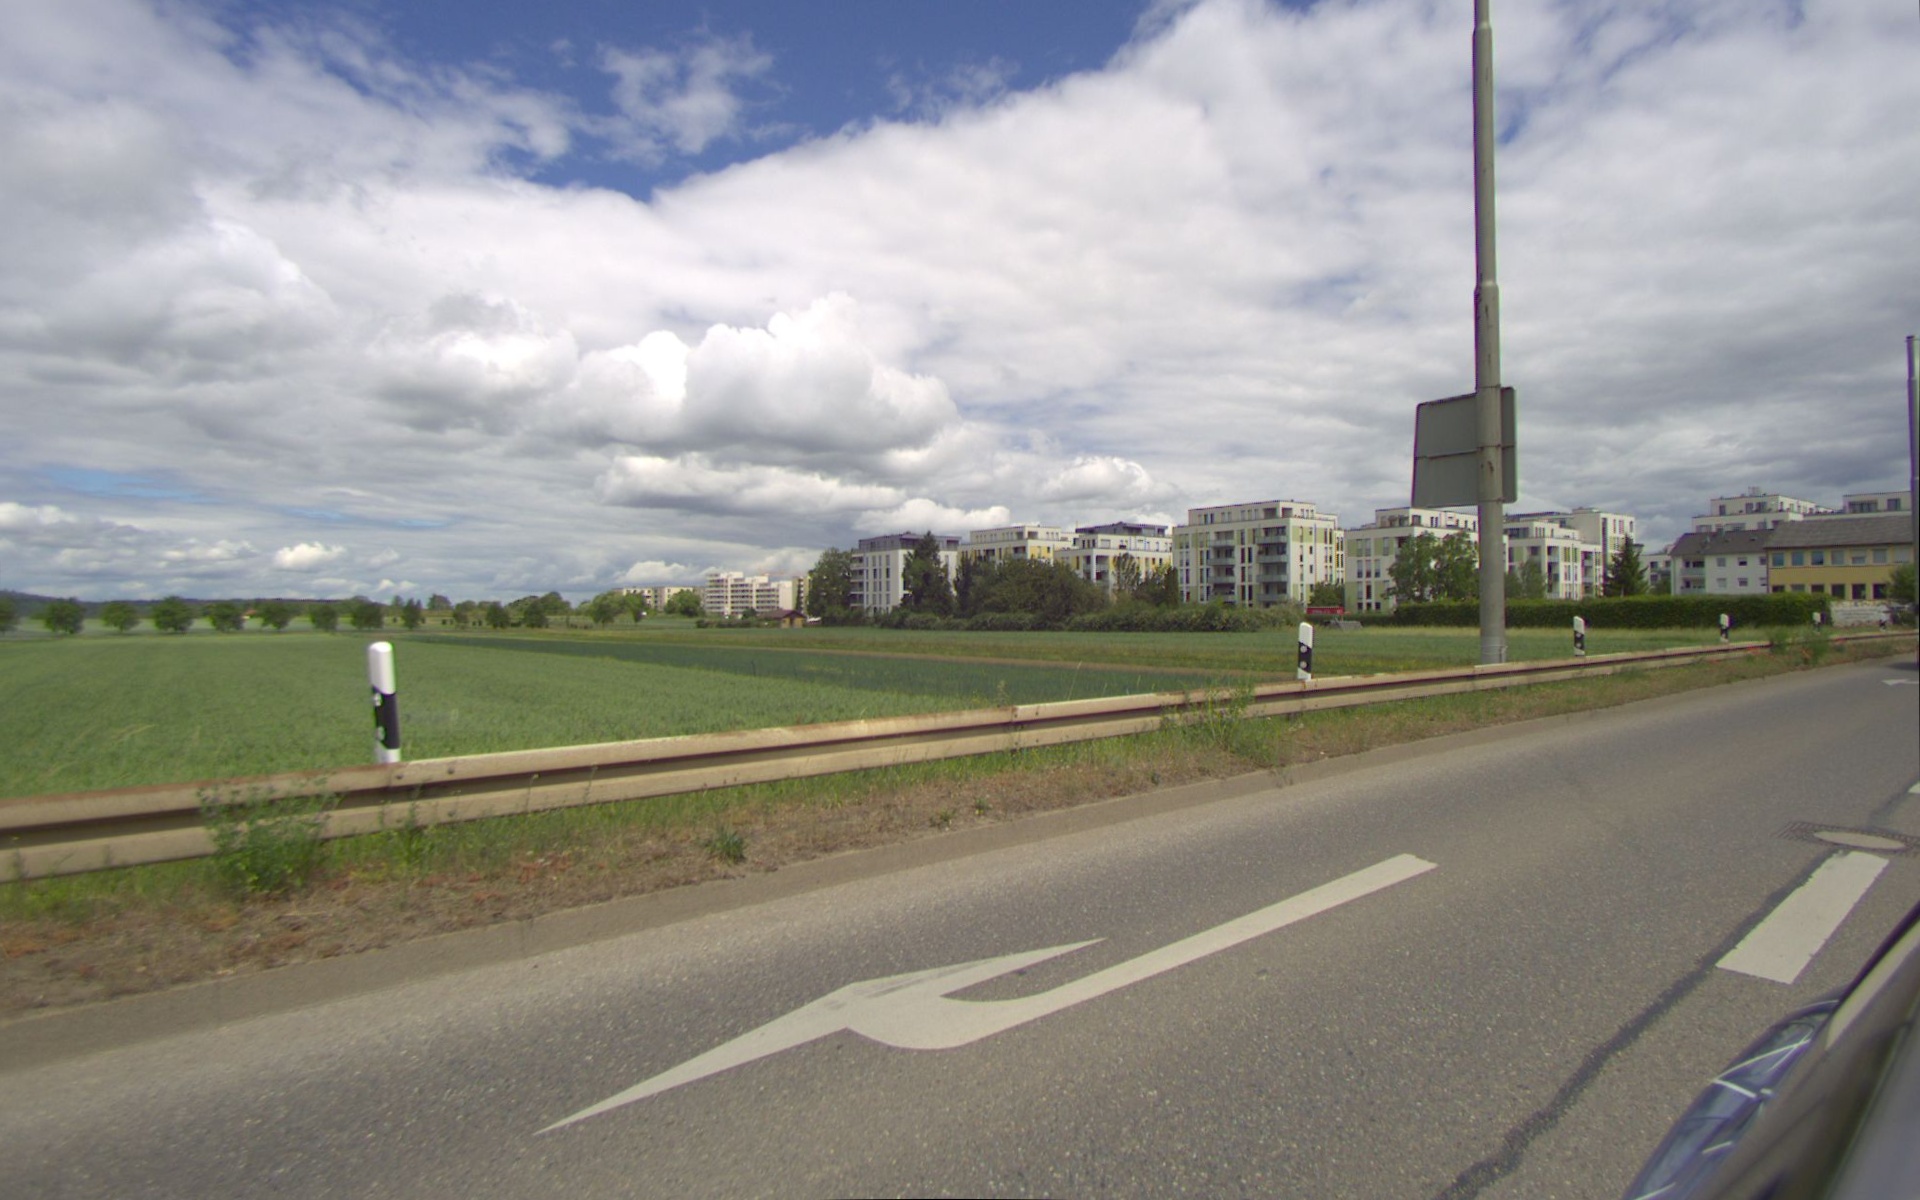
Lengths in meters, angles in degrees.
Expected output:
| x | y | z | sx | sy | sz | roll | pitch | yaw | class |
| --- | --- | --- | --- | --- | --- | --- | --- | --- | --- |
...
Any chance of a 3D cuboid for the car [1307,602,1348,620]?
| x | y | z | sx | sy | sz | roll | pitch | yaw | class |
| --- | --- | --- | --- | --- | --- | --- | --- | --- | --- |
| 45.212 | 1.338 | 124.556 | 1.965 | 2.039 | 4.433 | -1 | 0 | -41 | car |
